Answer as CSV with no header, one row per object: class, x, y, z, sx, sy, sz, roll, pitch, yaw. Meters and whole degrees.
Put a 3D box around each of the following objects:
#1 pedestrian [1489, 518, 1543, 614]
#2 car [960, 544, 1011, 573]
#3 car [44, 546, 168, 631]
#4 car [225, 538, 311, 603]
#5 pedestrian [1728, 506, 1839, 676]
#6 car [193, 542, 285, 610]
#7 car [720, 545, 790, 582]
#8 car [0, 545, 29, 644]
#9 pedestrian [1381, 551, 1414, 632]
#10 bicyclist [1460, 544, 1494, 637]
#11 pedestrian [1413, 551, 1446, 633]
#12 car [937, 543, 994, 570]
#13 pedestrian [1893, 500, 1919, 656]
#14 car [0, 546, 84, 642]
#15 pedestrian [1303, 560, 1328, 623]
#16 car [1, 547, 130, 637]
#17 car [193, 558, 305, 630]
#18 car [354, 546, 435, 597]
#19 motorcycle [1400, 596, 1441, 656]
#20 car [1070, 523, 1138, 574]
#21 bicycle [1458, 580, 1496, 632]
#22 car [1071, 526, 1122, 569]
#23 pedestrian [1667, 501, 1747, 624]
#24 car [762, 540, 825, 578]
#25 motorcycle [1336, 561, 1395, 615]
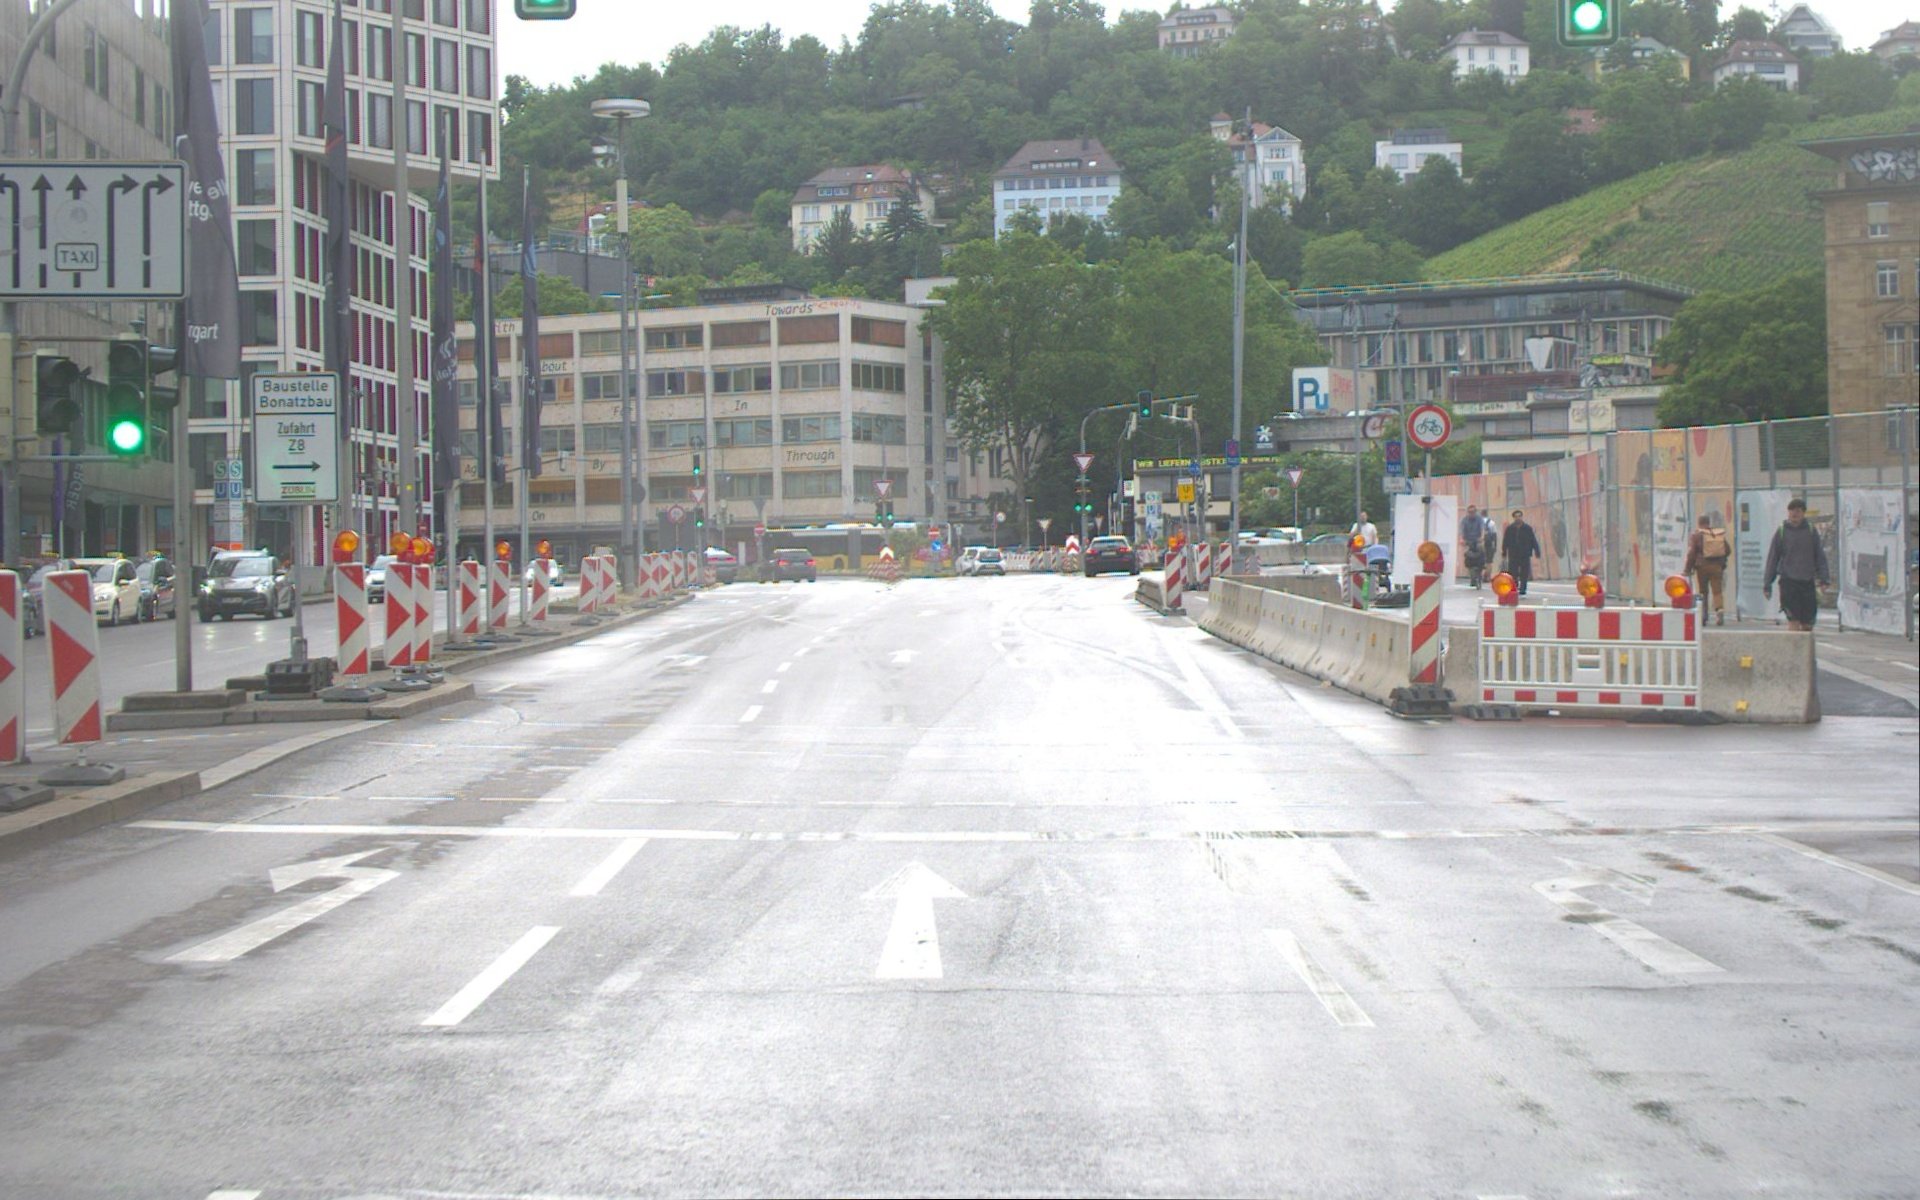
pedestrian,10.763,-0.649,66.572,0.946,1.835,0.867,-1,0,5
car,1.323,-2.160,177.911,1.819,1.437,4.001,1,1,-11
car,-20.971,-0.281,84.611,1.993,2.007,4.416,-1,0,-1
car,-22.174,-0.956,110.248,1.993,2.007,4.000,-1,1,-1
pedestrian,9.004,-0.097,37.576,0.948,1.835,0.945,-1,0,29
car,-21.937,-0.727,104.785,1.993,2.007,4.000,-1,0,-1
car,-10.339,-1.829,173.134,1.776,1.634,4.000,-4,1,-30
car,-20.317,-0.097,69.416,1.993,2.007,4.000,-1,0,-1
pedestrian,9.919,-0.191,77.967,0.688,1.835,0.614,-1,0,4
bicyclist,11.337,-0.211,75.398,0.642,2.007,0.655,-1,0,3
pedestrian,10.637,-0.181,77.914,0.688,1.835,0.614,-1,0,4
car,0.291,-2.410,191.797,1.993,1.437,4.001,1,1,-19
pedestrian,11.680,-0.264,40.693,0.866,1.835,0.947,-1,0,41
car,-20.440,-0.116,74.326,1.993,2.007,4.000,-1,0,-1
pedestrian,10.350,-0.245,100.115,0.688,1.835,0.614,-1,0,4
car,-20.725,-0.188,79.786,1.993,2.007,4.000,-1,0,-1
car,-17.741,-0.156,85.956,1.993,1.744,4.000,-1,0,-1
car,-18.306,-0.921,111.480,1.993,1.612,4.000,-1,0,-1
motorcycle,5.664,0.316,42.293,0.371,0.719,0.922,1,1,0
car,5.018,-1.780,120.242,1.993,1.700,4.000,-1,0,-3
bicycle,11.341,0.128,75.405,0.645,1.133,1.763,-1,0,3
car,5.331,-2.052,134.656,1.776,1.634,4.000,-1,1,-1
pedestrian,11.319,-0.562,52.120,0.946,1.835,0.867,-1,0,-5
car,-7.074,-1.744,145.625,1.993,1.547,4.001,-1,0,-13
motorcycle,5.190,-0.156,44.038,0.400,0.679,0.922,1,1,-17
